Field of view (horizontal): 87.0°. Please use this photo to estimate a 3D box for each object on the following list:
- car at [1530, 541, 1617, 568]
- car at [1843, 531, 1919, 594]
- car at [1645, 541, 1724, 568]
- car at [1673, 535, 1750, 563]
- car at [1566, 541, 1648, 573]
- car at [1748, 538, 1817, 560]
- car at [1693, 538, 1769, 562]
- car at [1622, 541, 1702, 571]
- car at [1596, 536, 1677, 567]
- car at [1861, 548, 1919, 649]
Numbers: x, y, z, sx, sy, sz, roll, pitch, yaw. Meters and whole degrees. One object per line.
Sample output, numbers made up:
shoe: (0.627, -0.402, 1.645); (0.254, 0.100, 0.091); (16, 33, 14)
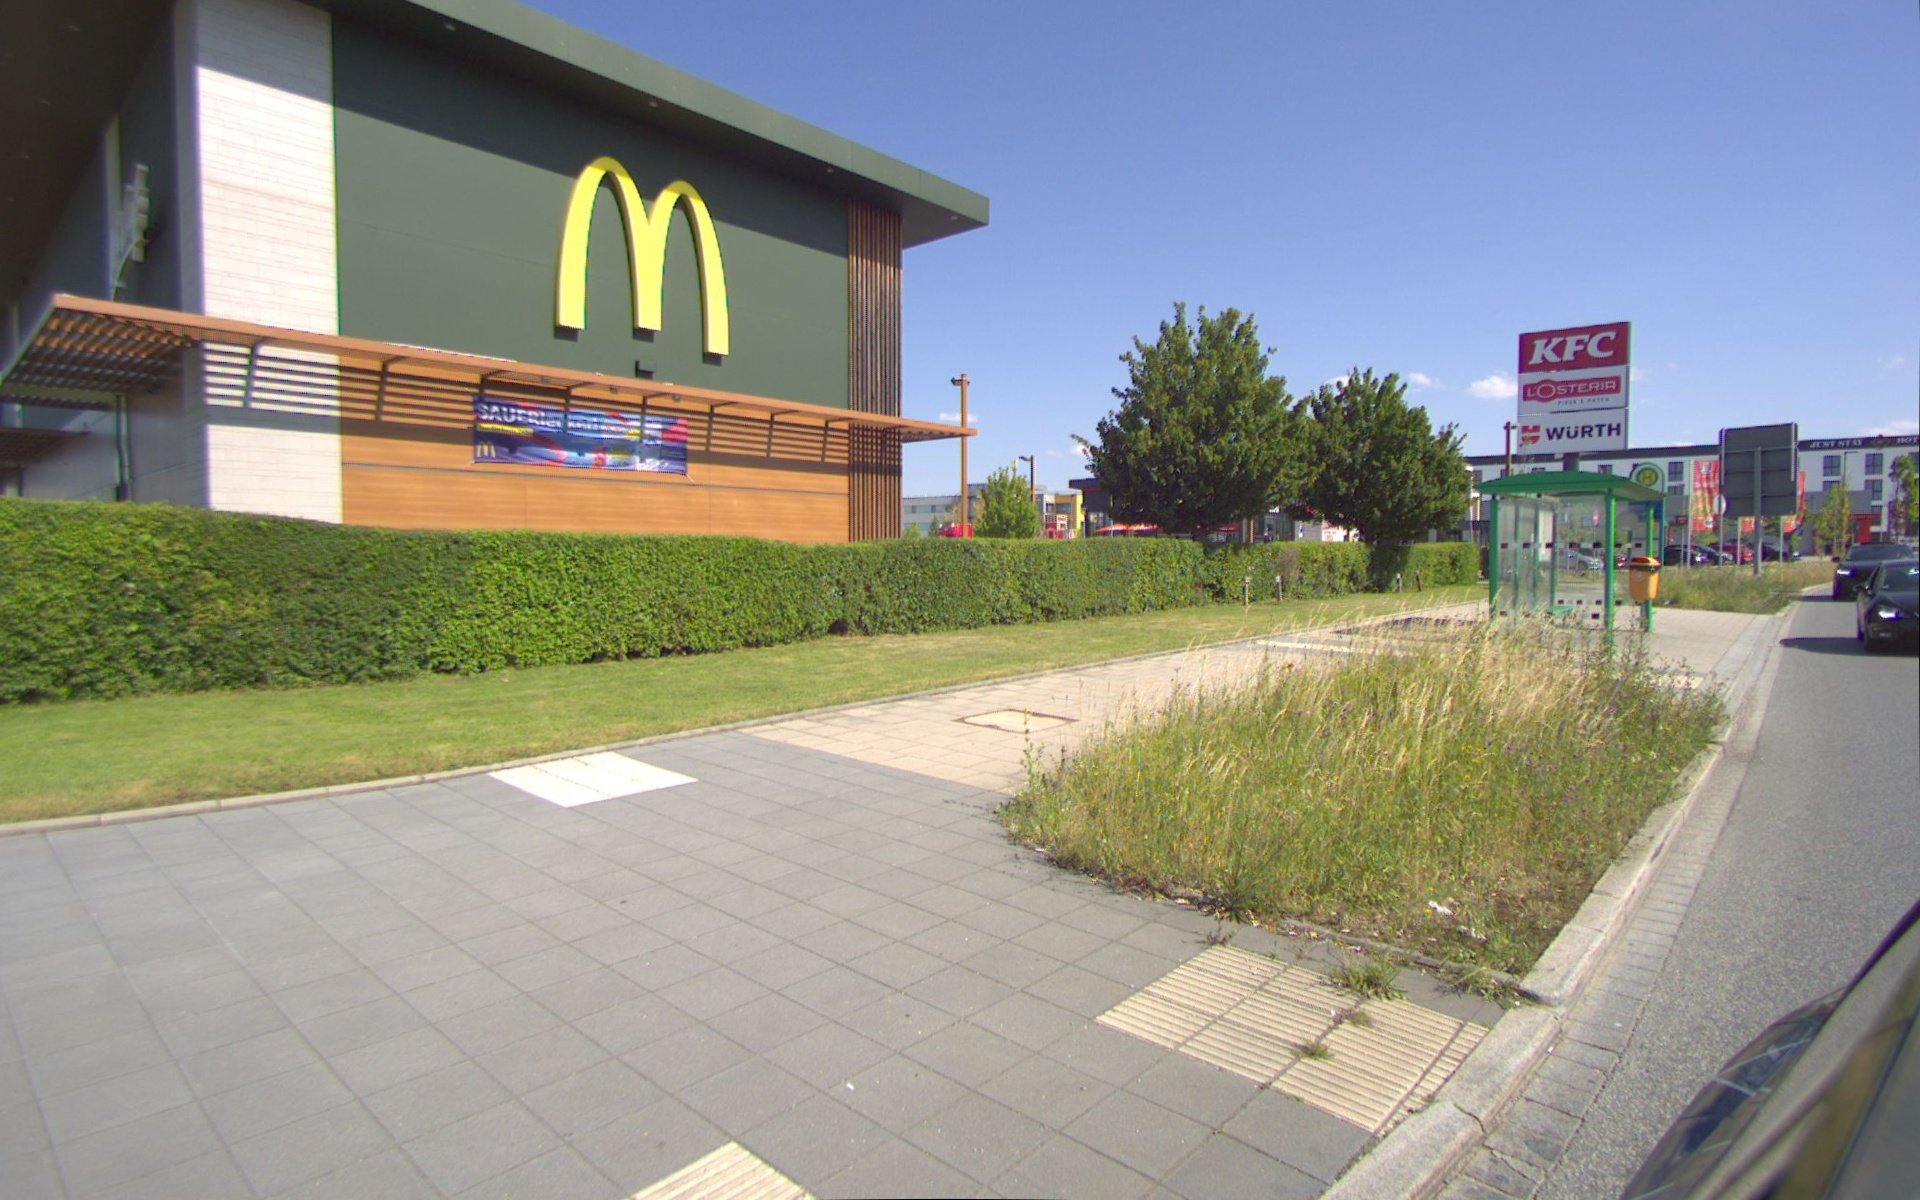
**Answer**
car: (39.587, -2.930, 65.390); (1.900, 1.673, 4.437); (-2, 3, -41)
car: (27.318, -1.123, 29.730); (1.857, 1.709, 3.938); (-2, 1, 44)
car: (51.682, -3.237, 72.281); (1.767, 1.880, 4.193); (-2, 3, -30)
car: (55.784, -3.777, 75.208); (1.897, 2.038, 4.188); (-2, 3, -35)
car: (43.438, -2.889, 68.009); (1.896, 2.038, 4.190); (-2, 3, -33)
car: (64.524, -4.002, 79.449); (1.723, 1.639, 3.826); (-2, 3, -34)
car: (58.319, -3.795, 76.583); (1.788, 1.783, 4.192); (-2, 3, -30)
car: (49.341, -3.112, 71.210); (1.896, 2.038, 4.189); (-2, 3, -33)
car: (46.292, -3.339, 69.327); (1.896, 2.038, 4.189); (-2, 3, -34)
car: (15.906, -0.090, 16.367); (1.857, 1.486, 3.938); (0, 2, 44)
